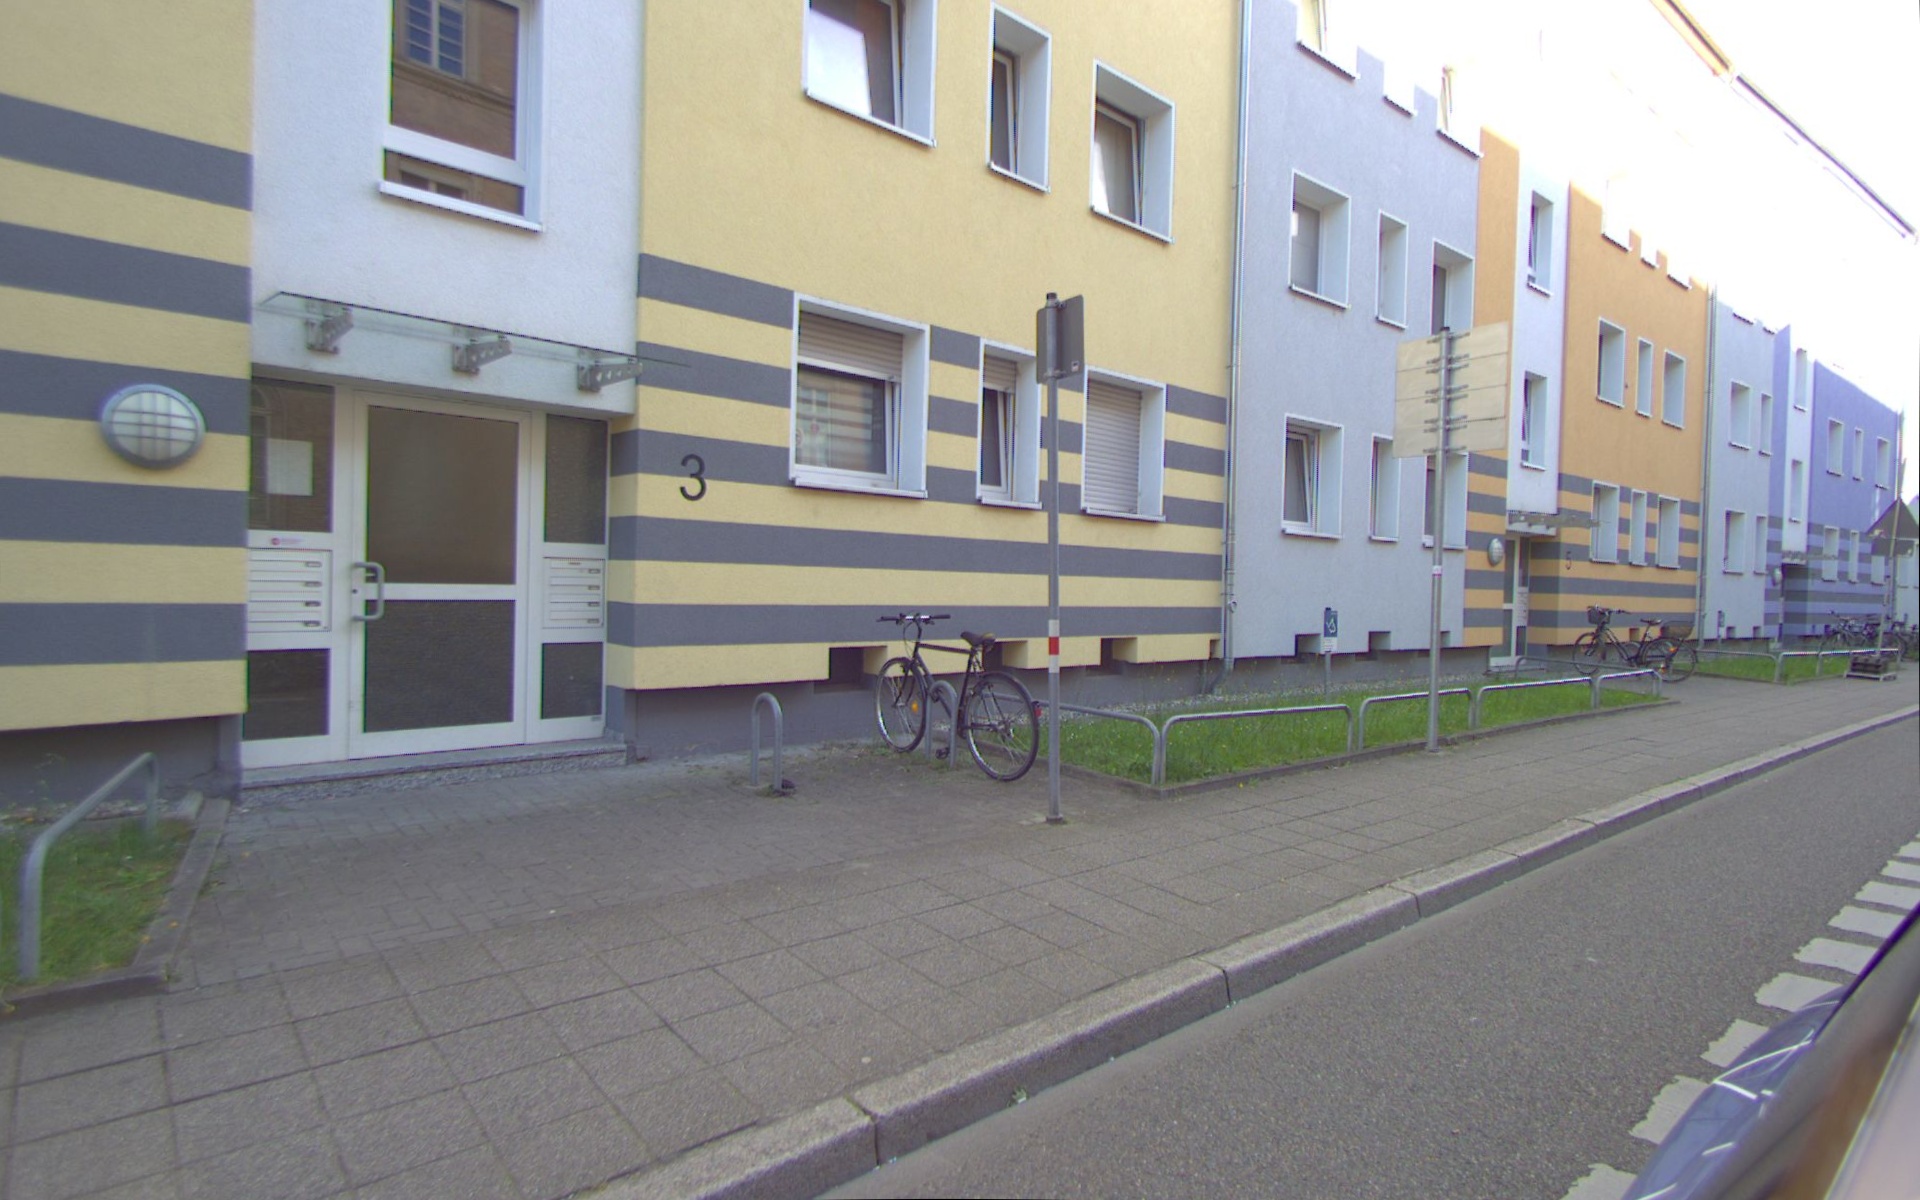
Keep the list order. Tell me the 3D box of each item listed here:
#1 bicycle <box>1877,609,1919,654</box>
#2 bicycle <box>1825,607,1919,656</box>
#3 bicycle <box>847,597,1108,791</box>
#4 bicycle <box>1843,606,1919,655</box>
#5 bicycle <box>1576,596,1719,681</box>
[{"bbox_3d":[24.180,0.813,25.350,0.625,1.048,1.709,1,3,-42],"label":"bicycle"},{"bbox_3d":[22.293,0.751,24.680,0.624,1.058,1.711,1,2,-39],"label":"bicycle"},{"bbox_3d":[0.056,0.566,7.059,0.625,1.074,1.946,1,3,-42],"label":"bicycle"},{"bbox_3d":[23.261,0.750,25.275,0.625,1.095,1.711,1,2,-40],"label":"bicycle"},{"bbox_3d":[10.752,0.564,15.877,0.625,1.173,1.709,1,3,-42],"label":"bicycle"}]
